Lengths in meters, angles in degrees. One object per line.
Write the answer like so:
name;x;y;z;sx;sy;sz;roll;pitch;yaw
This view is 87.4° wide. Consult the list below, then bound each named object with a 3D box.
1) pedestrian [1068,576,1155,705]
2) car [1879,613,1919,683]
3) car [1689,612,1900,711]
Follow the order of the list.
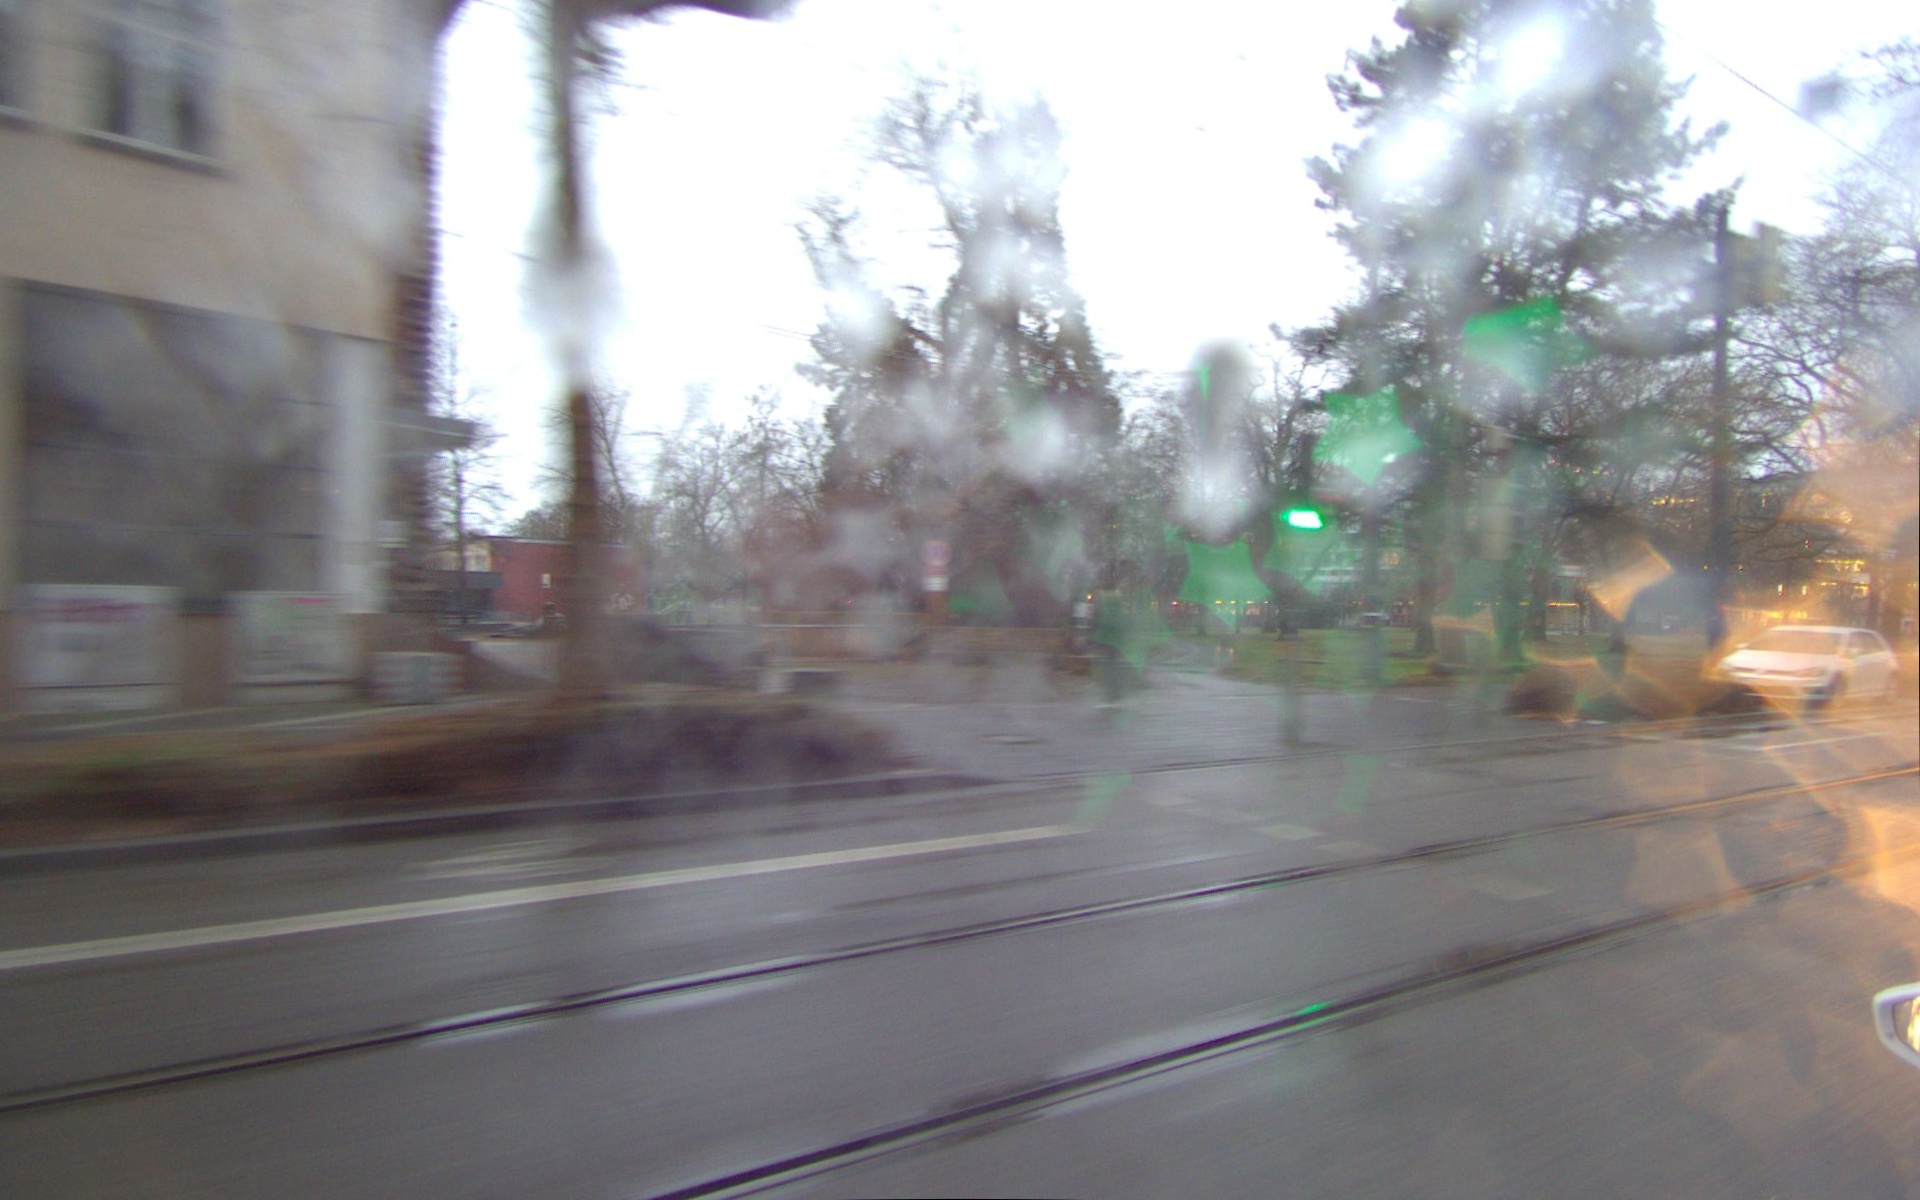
pedestrian;2.218;0.587;14.780;0.992;1.839;0.820;2;0;-15
car;24.423;1.192;24.547;4.384;1.637;1.971;2;0;-35
car;15.921;1.113;19.113;4.384;1.637;1.971;2;0;-35
